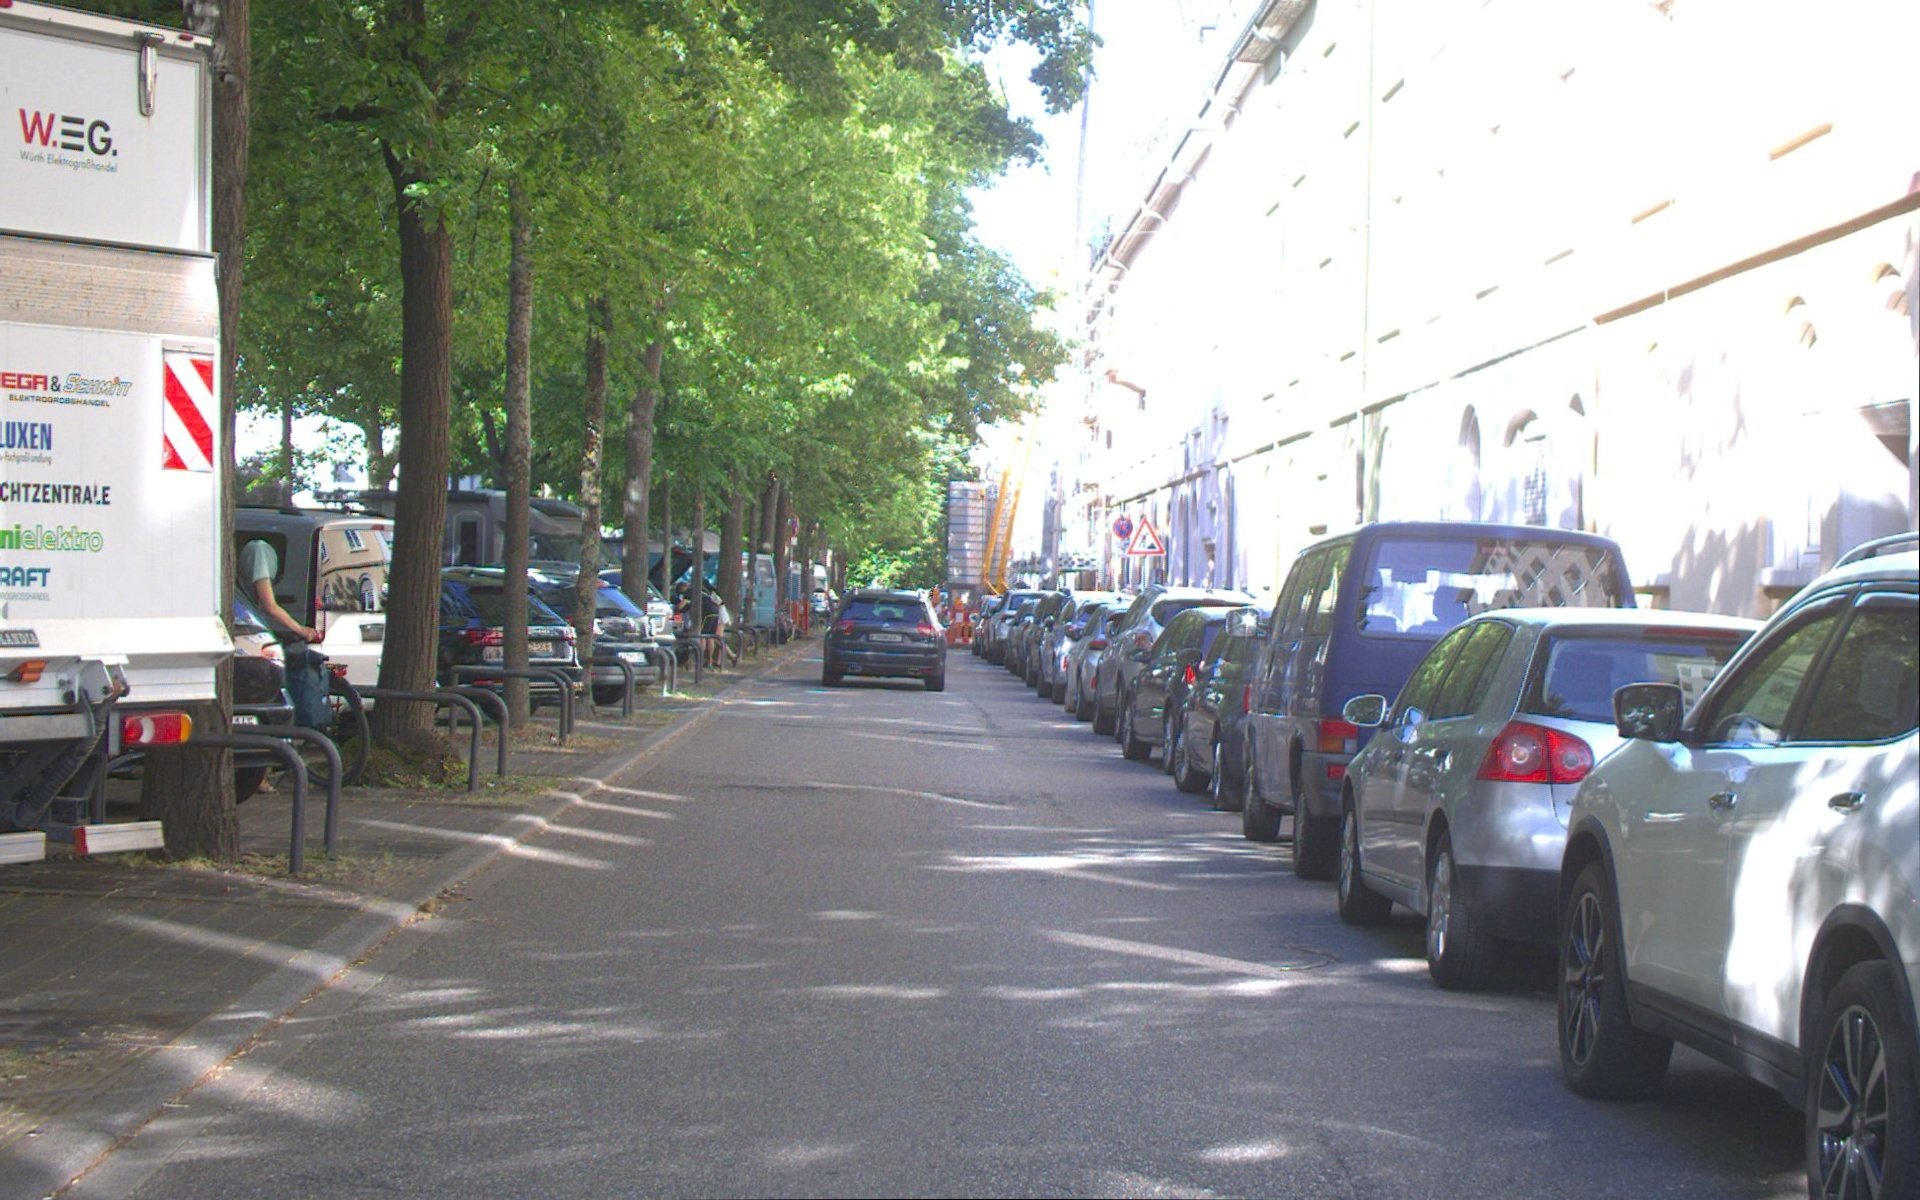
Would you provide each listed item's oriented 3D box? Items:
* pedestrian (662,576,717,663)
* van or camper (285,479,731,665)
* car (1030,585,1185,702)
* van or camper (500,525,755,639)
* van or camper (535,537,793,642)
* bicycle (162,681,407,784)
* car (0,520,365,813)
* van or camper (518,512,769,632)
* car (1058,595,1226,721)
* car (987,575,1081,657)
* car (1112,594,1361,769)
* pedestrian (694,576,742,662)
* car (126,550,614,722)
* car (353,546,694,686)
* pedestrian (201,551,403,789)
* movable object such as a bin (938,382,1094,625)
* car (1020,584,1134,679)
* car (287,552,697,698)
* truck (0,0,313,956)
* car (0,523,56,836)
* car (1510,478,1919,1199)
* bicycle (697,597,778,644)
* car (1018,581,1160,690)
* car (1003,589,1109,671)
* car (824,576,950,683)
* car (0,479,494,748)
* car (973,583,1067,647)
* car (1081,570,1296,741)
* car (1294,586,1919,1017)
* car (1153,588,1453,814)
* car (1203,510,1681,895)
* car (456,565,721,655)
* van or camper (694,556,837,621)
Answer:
[{"bbox_3d":[-4.594,0.333,58.490,0.710,1.451,0.595,1,0,22],"label":"pedestrian"},{"bbox_3d":[-7.557,-0.497,57.177,7.236,2.920,2.311,1,0,26],"label":"van or camper"},{"bbox_3d":[2.036,0.576,48.521,1.722,1.523,4.158,2,0,-3],"label":"car"},{"bbox_3d":[-8.096,-0.458,83.597,5.877,2.628,2.251,1,0,28],"label":"van or camper"},{"bbox_3d":[-6.843,-0.249,79.363,5.504,2.268,2.218,1,0,23],"label":"van or camper"},{"bbox_3d":[-4.213,0.815,21.398,1.612,0.556,0.409,2,0,30],"label":"bicycle"},{"bbox_3d":[-5.580,0.301,19.653,4.102,1.501,1.730,2,0,31],"label":"car"},{"bbox_3d":[-8.919,-0.803,96.694,6.666,3.230,2.491,1,0,28],"label":"van or camper"},{"bbox_3d":[2.221,0.689,42.866,1.722,1.427,4.158,2,0,-1],"label":"car"},{"bbox_3d":[1.568,0.328,74.466,1.816,1.668,4.673,2,0,-1],"label":"car"},{"bbox_3d":[2.391,0.680,30.526,1.549,1.389,3.862,2,0,-5],"label":"car"},{"bbox_3d":[-4.153,0.326,59.030,0.615,1.451,0.519,1,0,22],"label":"pedestrian"},{"bbox_3d":[-5.660,0.315,32.813,4.483,1.450,1.784,2,0,31],"label":"car"},{"bbox_3d":[-5.733,0.192,45.062,4.140,1.673,1.756,2,0,28],"label":"car"},{"bbox_3d":[-4.005,0.415,20.949,0.752,1.392,0.927,2,0,31],"label":"pedestrian"},{"bbox_3d":[1.599,-2.732,97.615,3.485,6.736,2.364,2,0,31],"label":"movable object such as a bin"},{"bbox_3d":[1.981,0.518,59.204,1.630,1.529,3.593,2,0,-3],"label":"car"},{"bbox_3d":[-5.270,0.275,38.556,4.417,1.457,1.713,2,-1,31],"label":"car"},{"bbox_3d":[-6.190,-0.549,13.318,7.314,3.282,2.542,1,0,30],"label":"truck"},{"bbox_3d":[-6.608,0.302,16.939,3.994,1.497,1.845,2,0,31],"label":"car"},{"bbox_3d":[2.788,0.631,8.844,1.762,1.747,4.510,2,0,-3],"label":"car"},{"bbox_3d":[-4.905,0.445,75.707,1.719,1.002,0.512,1,0,-31],"label":"bicycle"},{"bbox_3d":[1.978,0.523,53.961,1.722,1.591,4.159,2,0,-4],"label":"car"},{"bbox_3d":[1.756,0.541,63.897,1.630,1.408,4.089,2,0,-3],"label":"car"},{"bbox_3d":[-1.125,0.415,51.506,1.797,1.498,3.586,1,0,-2],"label":"car"},{"bbox_3d":[-6.108,0.064,26.463,4.515,1.858,2.078,2,0,24],"label":"car"},{"bbox_3d":[1.430,0.347,83.645,1.993,1.404,4.501,2,0,-2],"label":"car"},{"bbox_3d":[2.379,0.547,36.749,1.722,1.680,4.158,2,0,-4],"label":"car"},{"bbox_3d":[2.580,0.718,14.508,1.762,1.495,4.238,2,0,-2],"label":"car"},{"bbox_3d":[2.467,0.691,25.492,1.621,1.493,3.595,2,0,-3],"label":"car"},{"bbox_3d":[2.614,0.503,19.836,1.948,1.894,4.846,2,0,-1],"label":"car"},{"bbox_3d":[-6.475,0.167,59.819,4.321,1.419,1.673,2,0,26],"label":"car"},{"bbox_3d":[-7.837,-0.471,138.388,5.342,2.466,2.290,1,0,31],"label":"van or camper"}]
